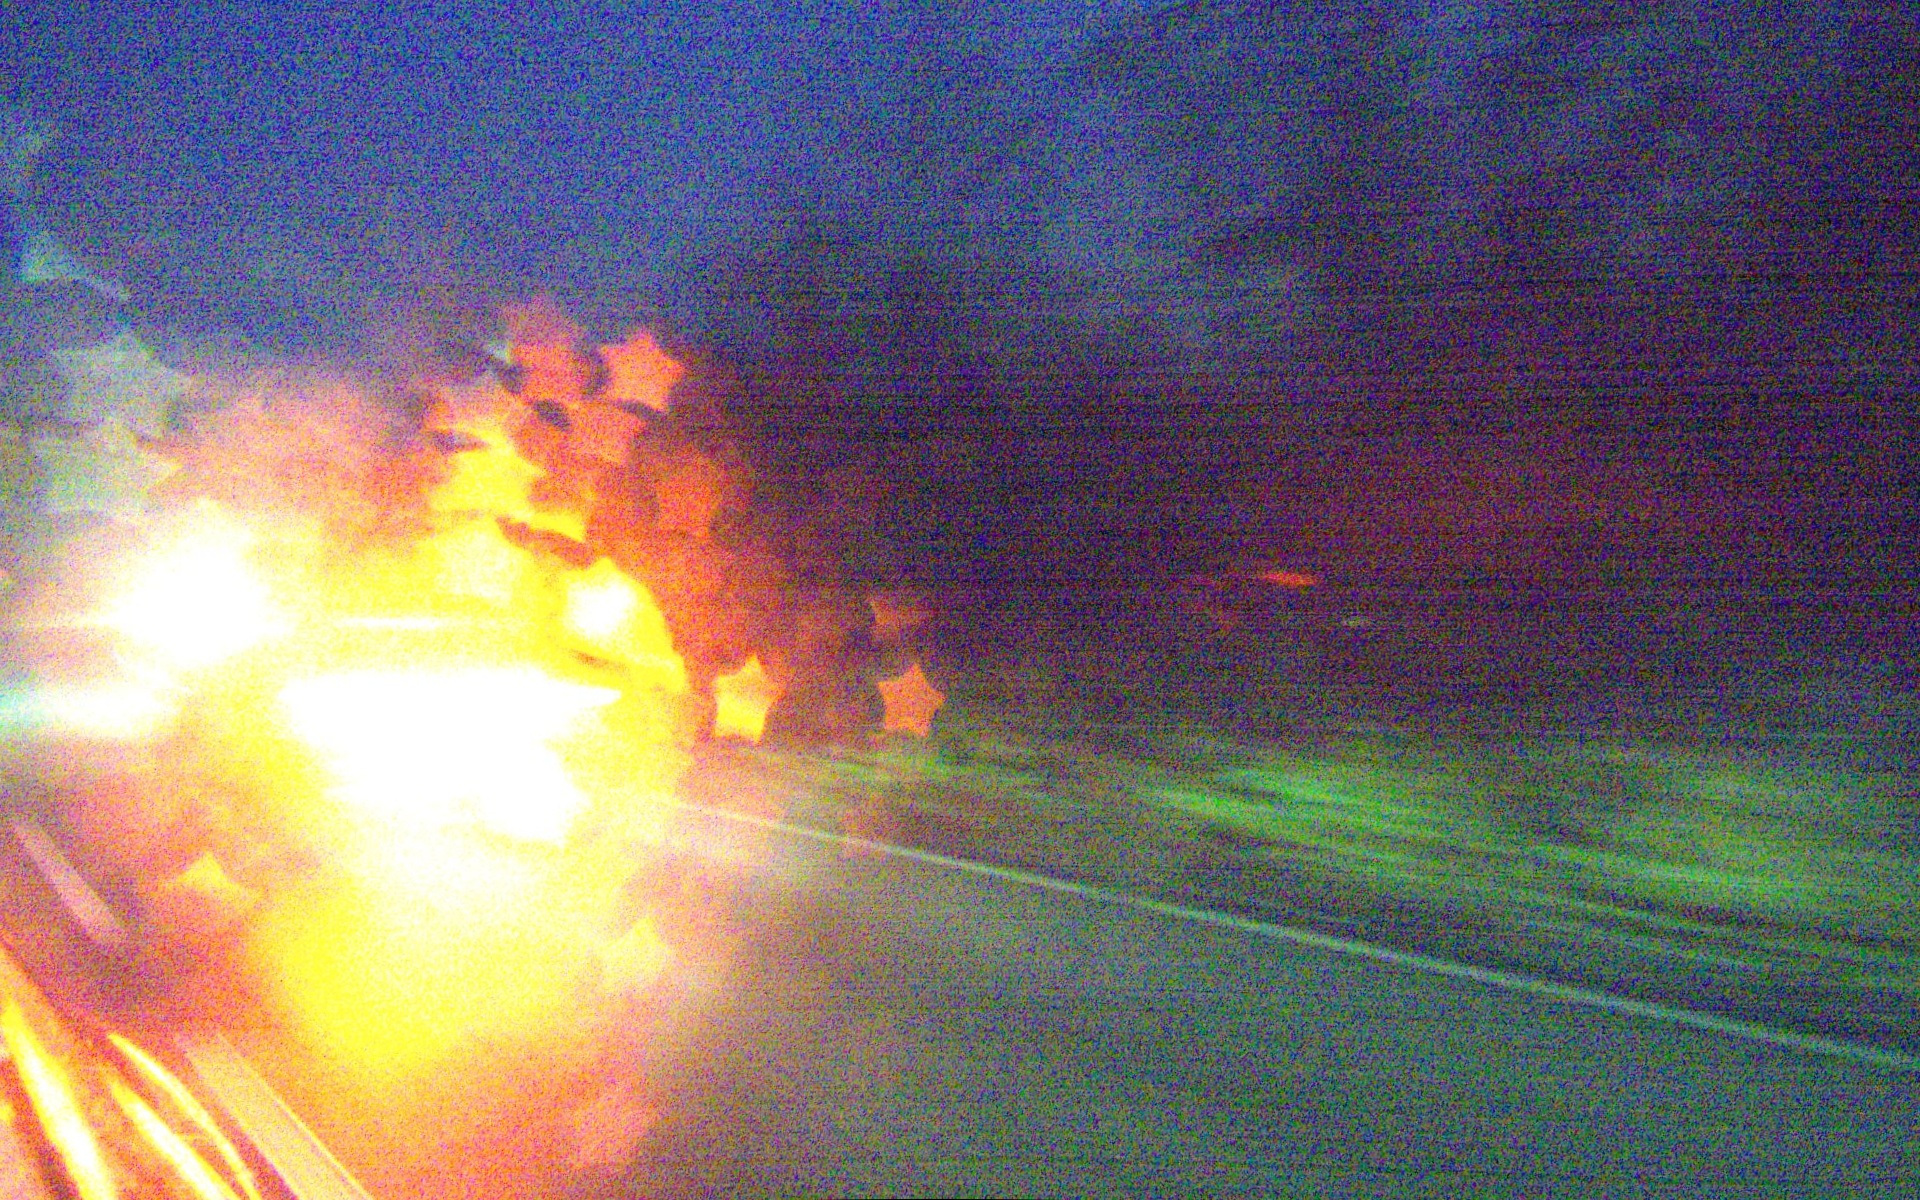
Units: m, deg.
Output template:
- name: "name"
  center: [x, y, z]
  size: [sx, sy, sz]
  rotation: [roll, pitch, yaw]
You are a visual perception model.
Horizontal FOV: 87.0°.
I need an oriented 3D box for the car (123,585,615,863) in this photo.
- name: "car"
  center: [-5.001, 0.792, 8.200]
  size: [4.981, 1.596, 1.910]
  rotation: [-1, -3, 41]
